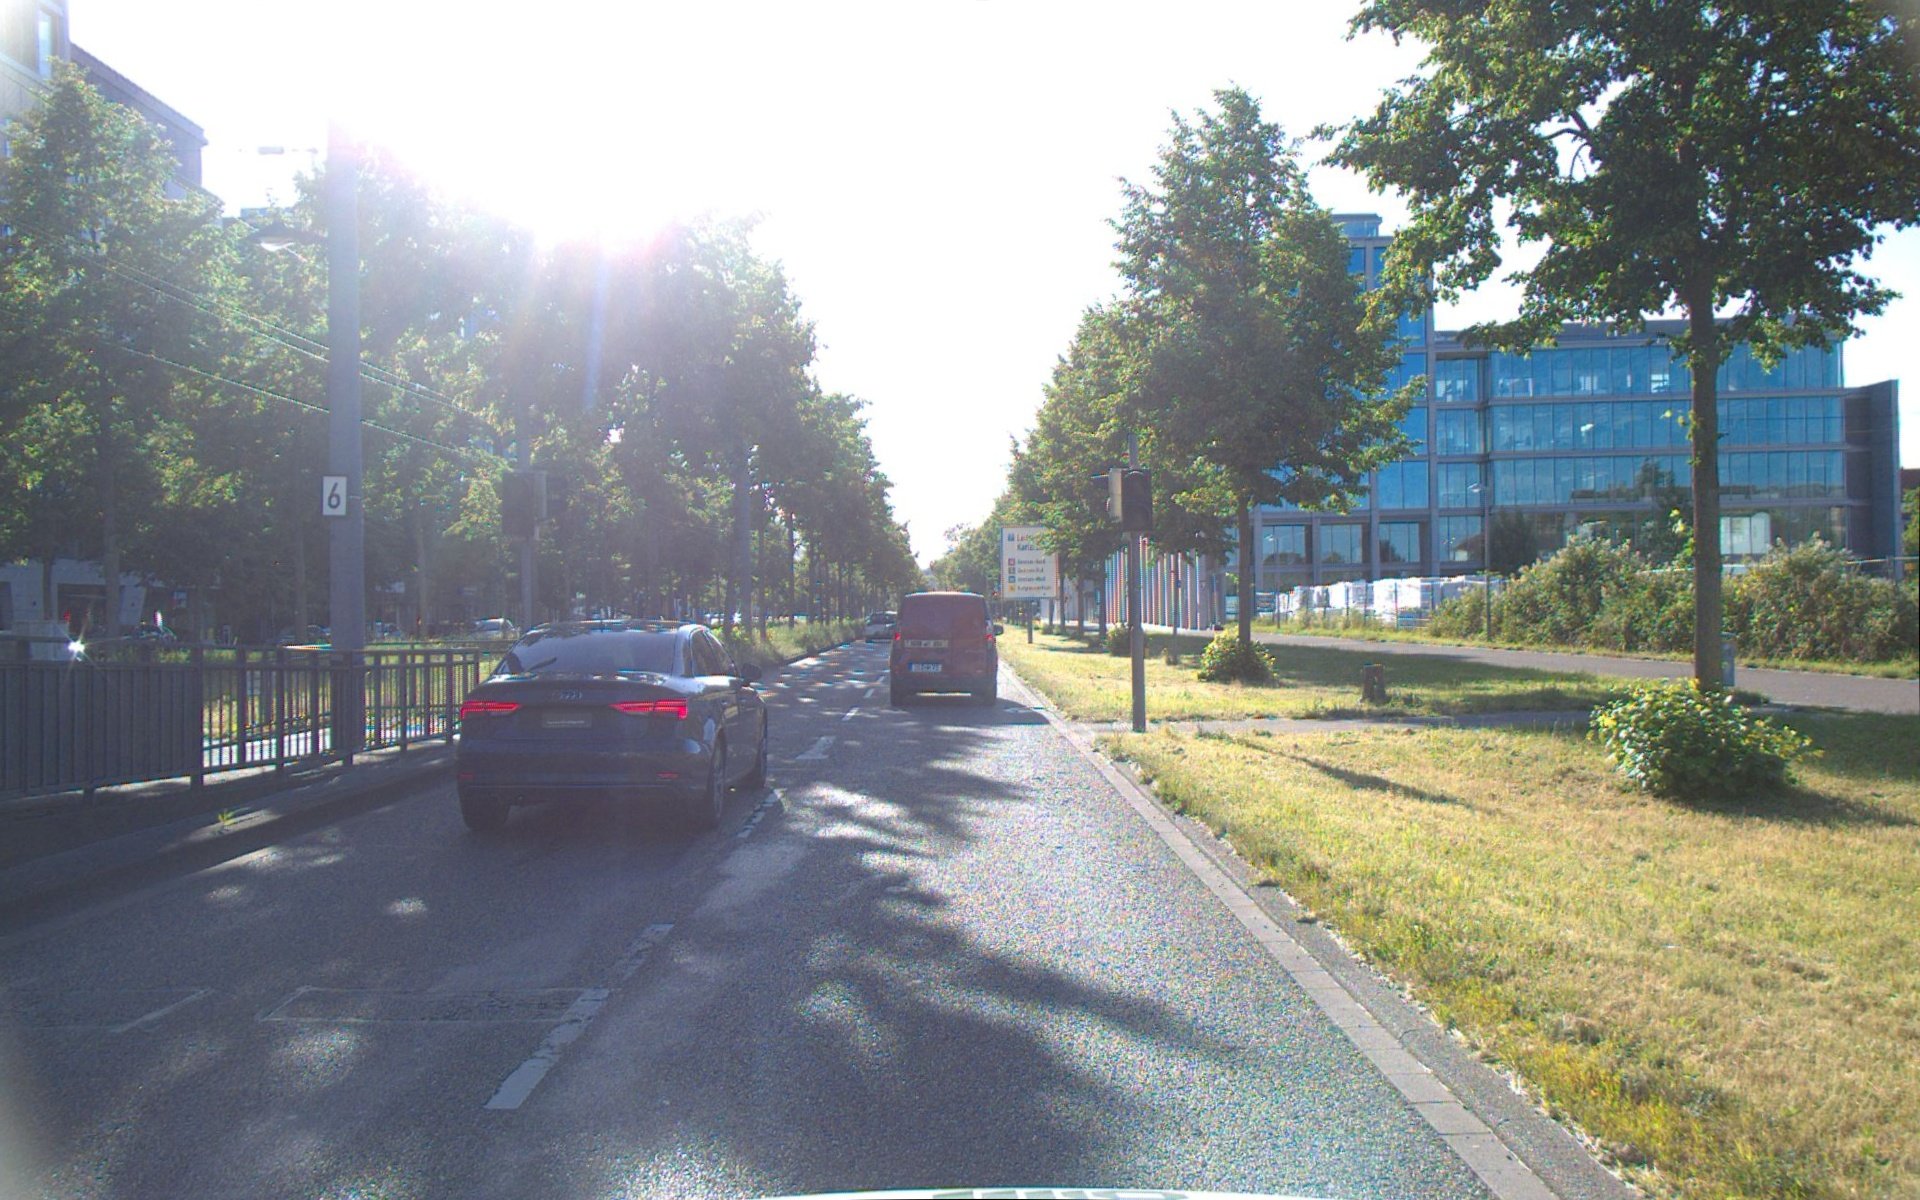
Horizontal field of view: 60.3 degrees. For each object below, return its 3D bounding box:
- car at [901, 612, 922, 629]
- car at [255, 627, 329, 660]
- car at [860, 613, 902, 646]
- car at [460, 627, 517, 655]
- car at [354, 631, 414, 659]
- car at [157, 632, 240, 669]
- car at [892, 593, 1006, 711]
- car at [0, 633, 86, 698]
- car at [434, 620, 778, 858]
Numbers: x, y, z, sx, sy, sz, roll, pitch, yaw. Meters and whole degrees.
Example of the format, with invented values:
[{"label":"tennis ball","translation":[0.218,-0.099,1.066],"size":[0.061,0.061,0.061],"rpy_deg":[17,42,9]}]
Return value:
[{"label":"car","translation":[-4.679,2.002,159.419],"size":[1.805,1.561,3.940],"rpy_deg":[-1,0,0]},{"label":"car","translation":[-31.823,2.037,78.951],"size":[1.680,1.445,4.544],"rpy_deg":[-1,0,0]},{"label":"car","translation":[-3.727,1.373,78.479],"size":[1.903,1.466,3.998],"rpy_deg":[-1,0,-3]},{"label":"car","translation":[-23.272,2.020,81.718],"size":[1.732,1.260,3.485],"rpy_deg":[-1,0,1]},{"label":"car","translation":[-31.476,2.431,90.483],"size":[1.680,1.445,4.544],"rpy_deg":[-1,-1,0]},{"label":"car","translation":[-31.257,2.046,67.956],"size":[1.698,1.378,3.752],"rpy_deg":[-1,0,-1]},{"label":"car","translation":[-0.244,0.829,27.866],"size":[1.761,1.808,3.998],"rpy_deg":[-1,-1,-2]},{"label":"car","translation":[-22.743,1.554,39.140],"size":[1.781,1.428,4.508],"rpy_deg":[-1,0,-1]},{"label":"car","translation":[-2.416,0.887,12.298],"size":[1.686,1.390,4.145],"rpy_deg":[1,0,-1]}]
